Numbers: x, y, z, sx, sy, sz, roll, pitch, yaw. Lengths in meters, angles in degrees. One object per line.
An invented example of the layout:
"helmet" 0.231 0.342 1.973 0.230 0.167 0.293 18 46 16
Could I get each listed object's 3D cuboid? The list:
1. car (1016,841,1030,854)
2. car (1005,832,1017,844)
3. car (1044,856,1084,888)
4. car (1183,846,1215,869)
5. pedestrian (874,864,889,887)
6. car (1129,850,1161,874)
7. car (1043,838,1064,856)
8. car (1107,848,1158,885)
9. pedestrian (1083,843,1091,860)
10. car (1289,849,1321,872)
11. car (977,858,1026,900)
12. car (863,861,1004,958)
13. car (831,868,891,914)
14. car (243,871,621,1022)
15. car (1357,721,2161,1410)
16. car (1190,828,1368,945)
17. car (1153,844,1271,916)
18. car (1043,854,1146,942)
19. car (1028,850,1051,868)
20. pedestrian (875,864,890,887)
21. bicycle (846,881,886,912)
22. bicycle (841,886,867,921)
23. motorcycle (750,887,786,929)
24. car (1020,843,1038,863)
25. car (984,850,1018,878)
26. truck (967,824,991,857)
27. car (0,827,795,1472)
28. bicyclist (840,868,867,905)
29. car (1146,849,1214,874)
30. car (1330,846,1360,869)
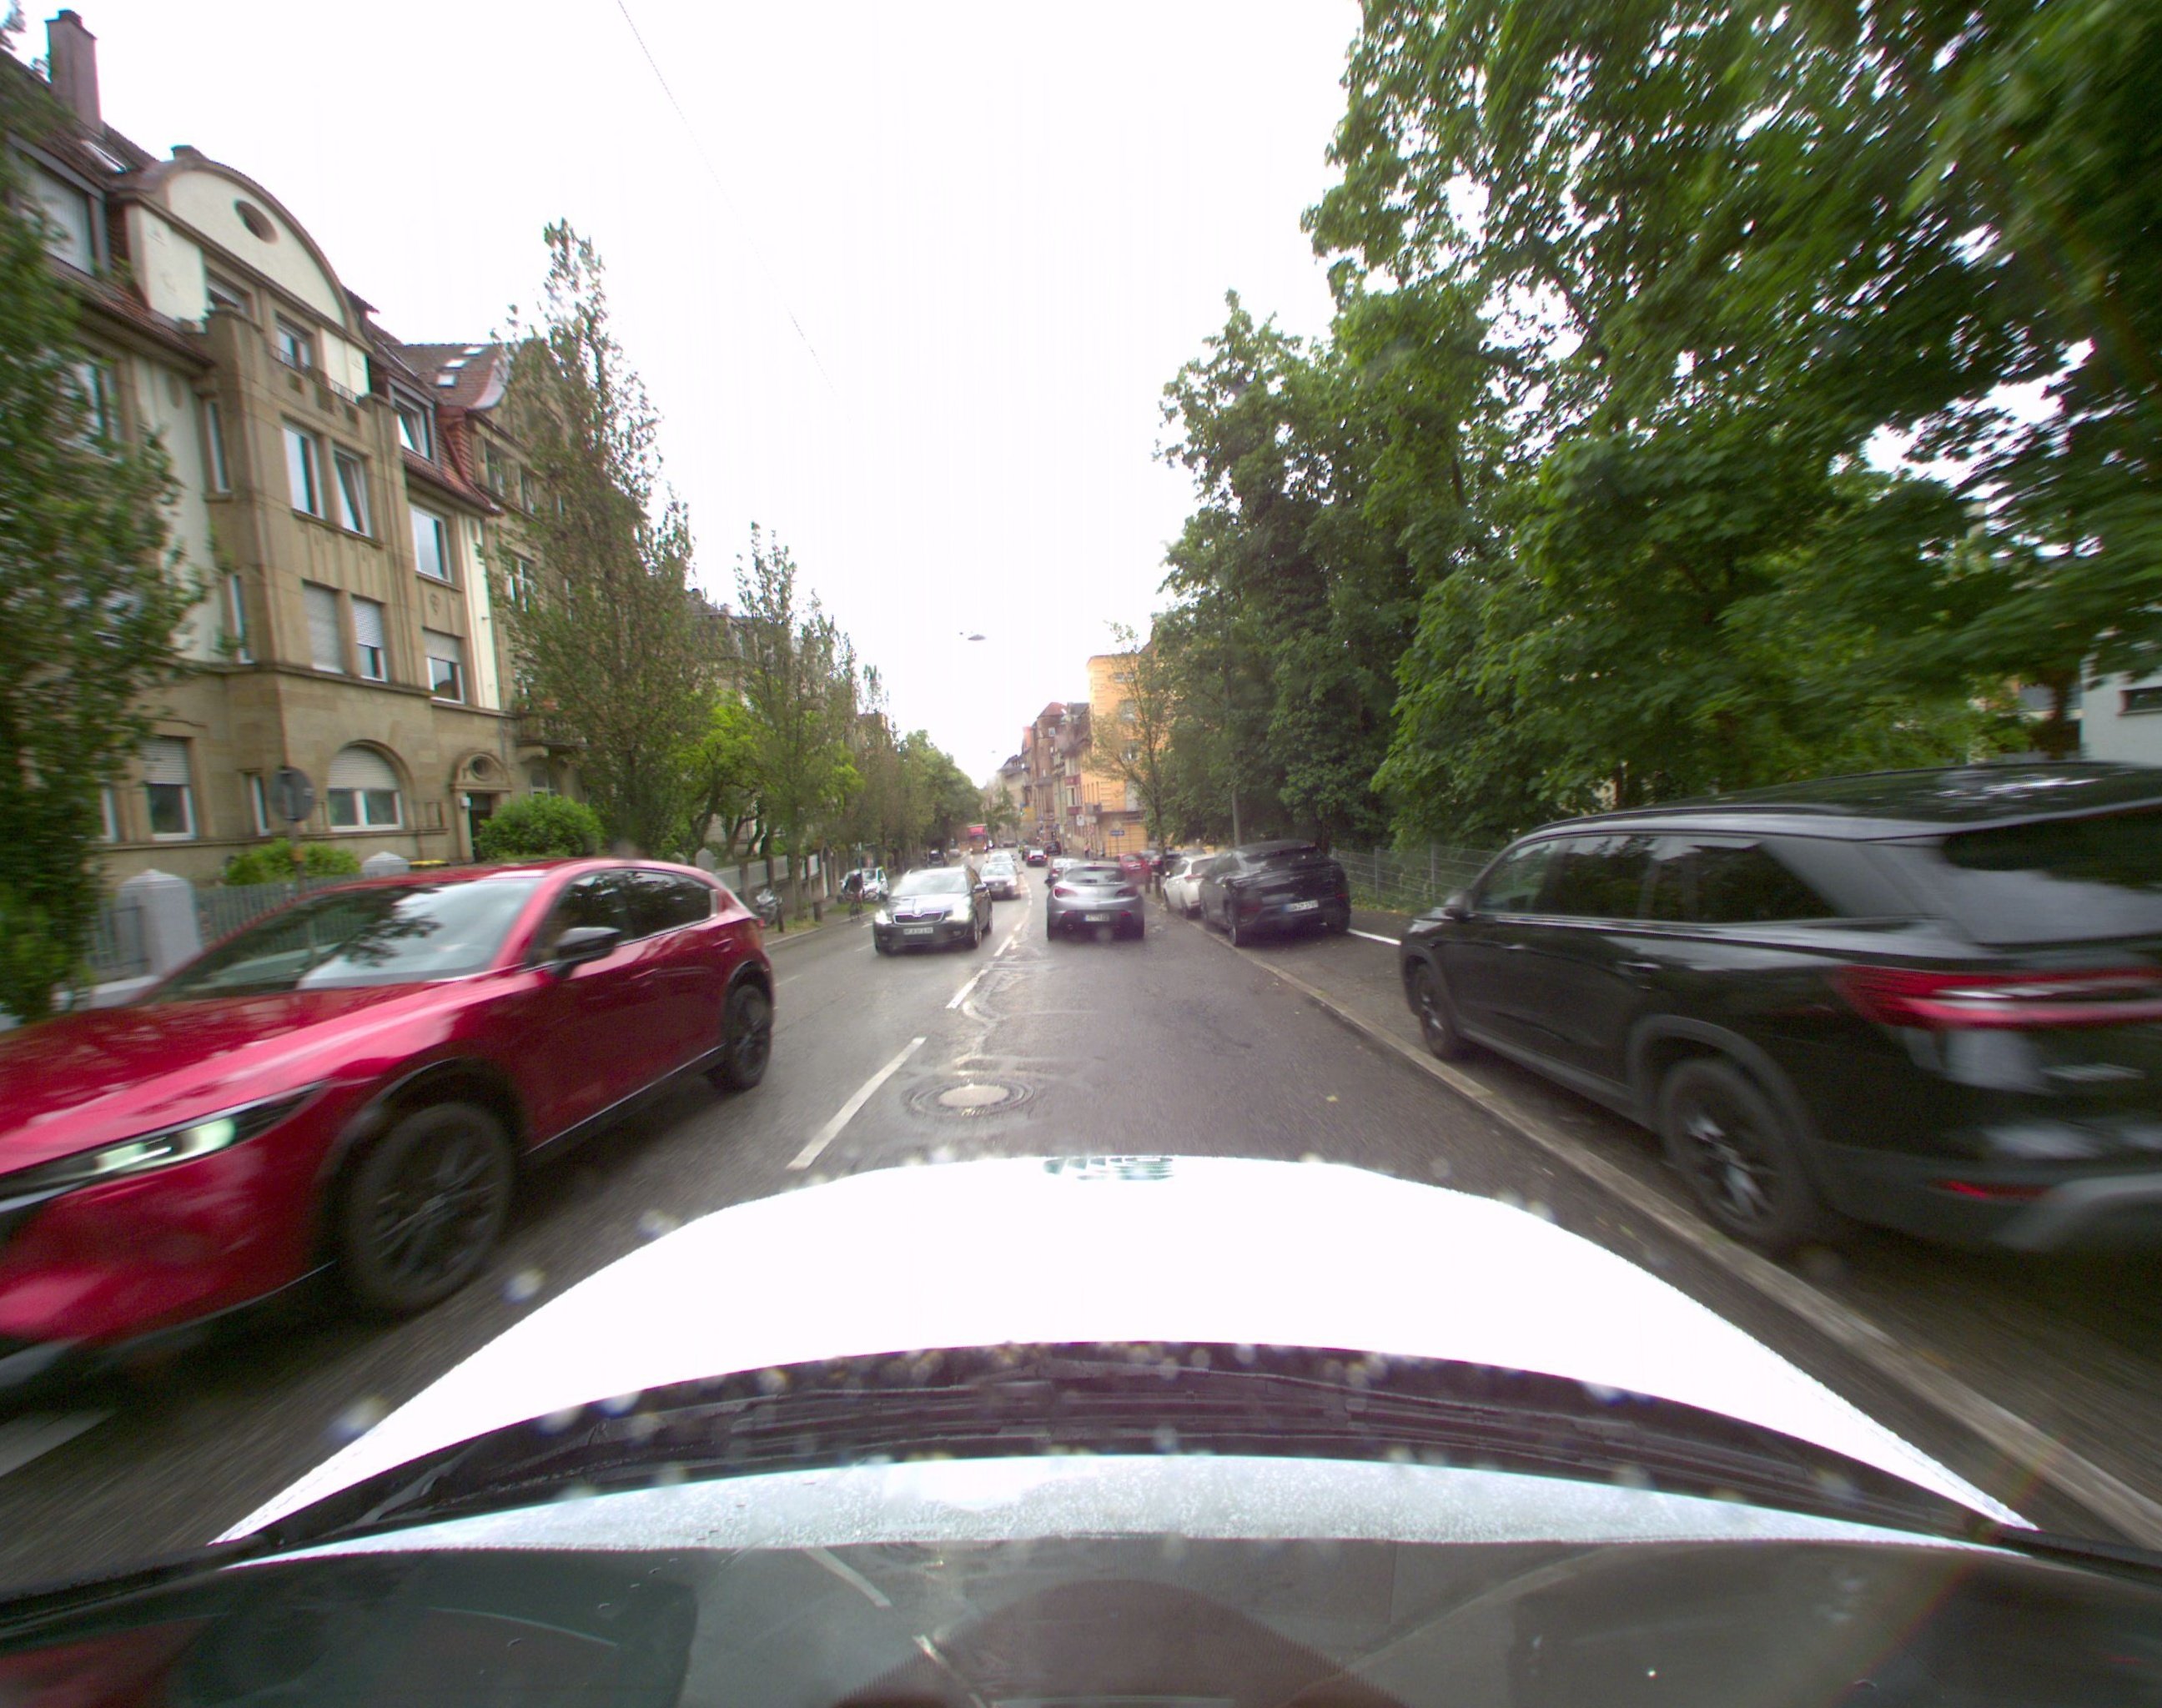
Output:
"car" -7.412 -0.819 103.291 1.638 1.536 3.710 -3 0 -5
"car" -12.174 -2.747 141.577 1.781 1.855 3.988 -2 -1 -9
"car" -0.846 0.835 38.919 1.772 1.430 3.781 -2 -1 -3
"car" 8.443 0.220 57.934 1.763 1.429 3.801 -1 2 15
"pedestrian" -12.483 1.361 50.979 0.705 1.343 0.612 -6 0 -3
"car" 4.516 0.535 56.754 1.765 1.429 3.798 -1 2 11
"car" -3.060 -0.756 90.696 1.990 1.689 3.994 -8 0 -4
"car" 2.443 0.614 39.579 1.811 1.467 3.995 -7 0 -3
"pedestrian" 0.527 -0.245 73.959 0.611 1.496 0.552 -3 2 -3
"car" 16.112 0.431 58.523 1.761 1.429 3.807 -1 2 22
"car" -3.066 0.954 31.958 1.657 1.448 3.988 -3 -1 -3
"car" -2.648 0.942 15.588 1.732 1.473 4.283 -4 0 1
"car" -9.767 1.592 36.401 1.786 1.651 4.187 -6 0 -6
"car" -8.430 1.087 11.145 1.807 1.612 4.003 -1 -1 3
"car" 3.191 0.470 4.426 1.814 1.683 4.806 -5 0 2
"car" 3.335 0.533 14.728 1.970 1.609 4.483 -5 -1 -1
"car" 3.156 0.637 20.520 1.972 1.452 4.108 -5 -1 -4
"car" 0.225 0.795 16.636 1.809 1.429 3.999 -2 1 -1
"car" -3.397 0.382 66.451 1.765 1.415 3.710 -1 1 -5
"pedestrian" -12.590 1.366 51.703 0.705 1.343 0.612 -6 0 -3
"bicycle" -9.007 1.764 34.096 1.462 1.120 0.379 -6 1 -9
"bicycle" -7.358 1.582 26.422 0.653 0.982 2.146 -1 0 -12
"motorcycle" -9.363 1.579 24.395 0.653 1.121 2.146 -1 0 -12
"car" -5.217 -0.162 81.762 1.638 1.688 3.711 -3 4 -5
"car" -5.165 0.610 53.080 1.818 1.650 3.997 -4 0 -2
"truck" -14.403 -2.075 114.843 2.787 4.131 10.827 -7 3 -7
"car" -3.219 0.797 4.177 1.839 1.584 4.279 -5 0 0
"bicyclist" -7.409 1.053 26.590 0.771 1.169 1.078 -1 0 -12
"car" 6.018 0.461 49.669 3.768 1.430 1.778 1 -2 -7
"car" 19.107 0.229 58.875 1.761 1.429 3.807 -1 2 22
